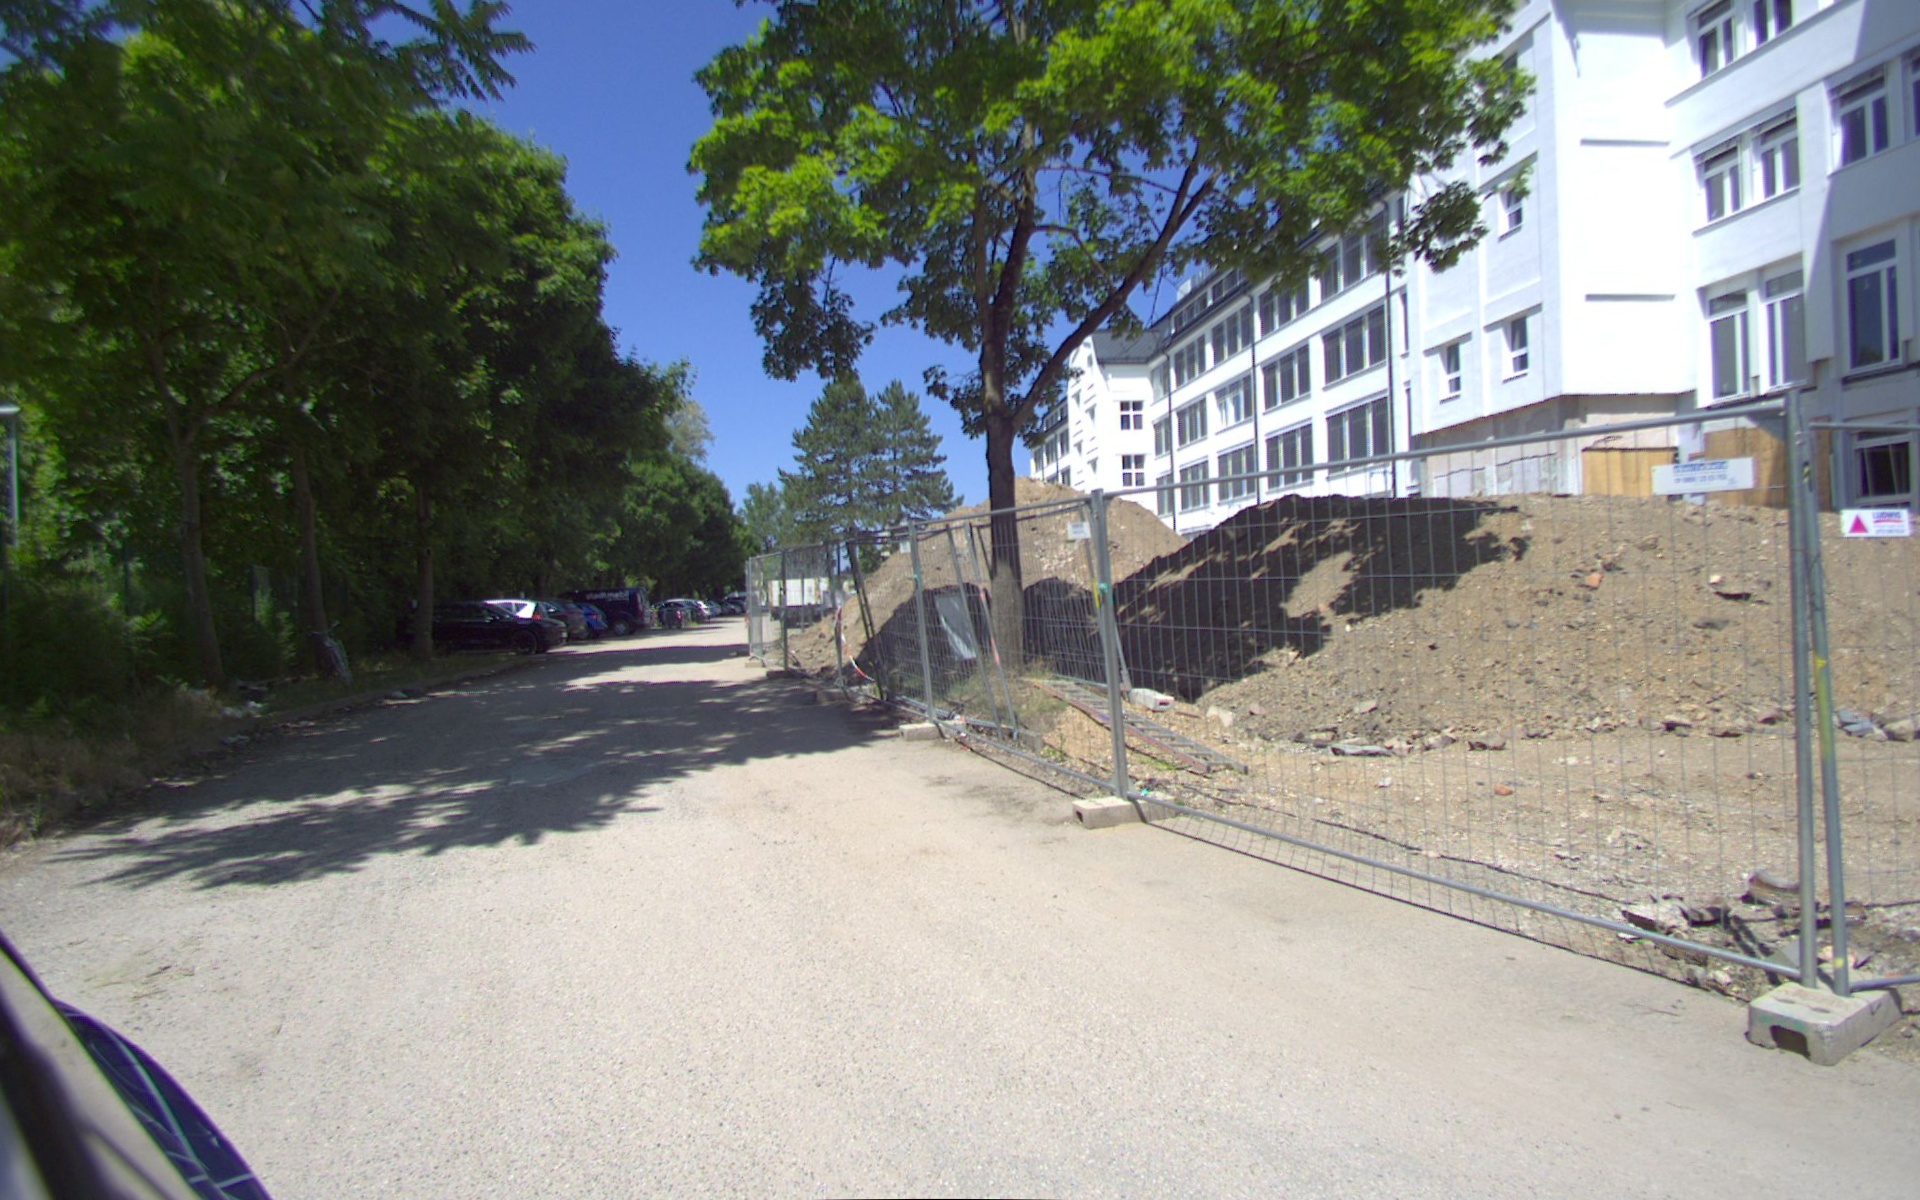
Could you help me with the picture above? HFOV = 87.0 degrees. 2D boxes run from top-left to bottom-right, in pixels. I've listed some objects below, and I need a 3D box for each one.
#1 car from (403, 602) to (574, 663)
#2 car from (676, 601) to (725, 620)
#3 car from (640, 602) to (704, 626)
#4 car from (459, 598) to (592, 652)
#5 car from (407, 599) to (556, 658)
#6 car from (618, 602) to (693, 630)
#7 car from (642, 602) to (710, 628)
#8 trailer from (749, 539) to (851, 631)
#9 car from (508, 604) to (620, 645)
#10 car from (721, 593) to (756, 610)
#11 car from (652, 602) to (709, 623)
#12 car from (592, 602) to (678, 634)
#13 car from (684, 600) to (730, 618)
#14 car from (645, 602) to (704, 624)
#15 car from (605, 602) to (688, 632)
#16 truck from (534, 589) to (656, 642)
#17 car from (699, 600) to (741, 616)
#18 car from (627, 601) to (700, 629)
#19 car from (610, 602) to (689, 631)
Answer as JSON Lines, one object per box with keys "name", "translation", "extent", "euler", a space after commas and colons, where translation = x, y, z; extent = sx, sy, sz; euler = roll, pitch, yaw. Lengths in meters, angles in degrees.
{"name": "car", "translation": [-12.979, 0.865, 28.049], "extent": [3.937, 1.514, 1.693], "euler": [-2, 0, -7]}
{"name": "car", "translation": [-21.722, 0.853, 84.689], "extent": [3.731, 1.420, 1.744], "euler": [-2, 0, -6]}
{"name": "car", "translation": [-18.571, 0.912, 65.397], "extent": [3.731, 1.420, 1.744], "euler": [-2, 0, -6]}
{"name": "car", "translation": [-14.591, 0.810, 34.156], "extent": [3.729, 1.647, 1.851], "euler": [-2, 0, -9]}
{"name": "car", "translation": [-14.586, 0.841, 31.045], "extent": [3.729, 1.647, 1.851], "euler": [-2, 0, -9]}
{"name": "car", "translation": [-16.787, 0.869, 55.950], "extent": [3.731, 1.420, 1.744], "euler": [-2, 0, -6]}
{"name": "car", "translation": [-17.230, 0.916, 61.442], "extent": [3.731, 1.420, 1.744], "euler": [-2, 0, -6]}
{"name": "trailer", "translation": [-6.655, -0.616, 43.397], "extent": [2.999, 3.447, 8.773], "euler": [-2, 1, -1]}
{"name": "car", "translation": [-15.259, 0.924, 39.130], "extent": [3.729, 1.420, 1.744], "euler": [-2, 0, -9]}
{"name": "car", "translation": [-25.333, 0.179, 116.015], "extent": [3.731, 1.734, 1.744], "euler": [-2, 0, -6]}
{"name": "car", "translation": [-20.442, 0.920, 74.097], "extent": [3.731, 1.420, 1.744], "euler": [-2, 0, -6]}
{"name": "car", "translation": [-15.889, 0.871, 49.573], "extent": [3.731, 1.420, 1.744], "euler": [-2, 0, -6]}
{"name": "car", "translation": [-22.426, 0.813, 89.816], "extent": [3.731, 1.420, 1.744], "euler": [-2, 0, -6]}
{"name": "car", "translation": [-20.032, 0.885, 71.165], "extent": [3.731, 1.420, 1.744], "euler": [-2, 0, -6]}
{"name": "car", "translation": [-16.000, 0.850, 51.787], "extent": [3.731, 1.420, 1.744], "euler": [-2, 0, -6]}
{"name": "truck", "translation": [-15.027, 0.607, 41.875], "extent": [4.389, 2.009, 2.003], "euler": [-2, 0, -6]}
{"name": "car", "translation": [-22.968, 0.755, 96.913], "extent": [3.731, 1.420, 1.744], "euler": [-2, 0, -6]}
{"name": "car", "translation": [-16.919, 0.854, 57.890], "extent": [3.731, 1.420, 1.744], "euler": [-2, 0, -6]}
{"name": "car", "translation": [-16.483, 0.866, 53.892], "extent": [3.731, 1.420, 1.744], "euler": [-2, 0, -6]}
